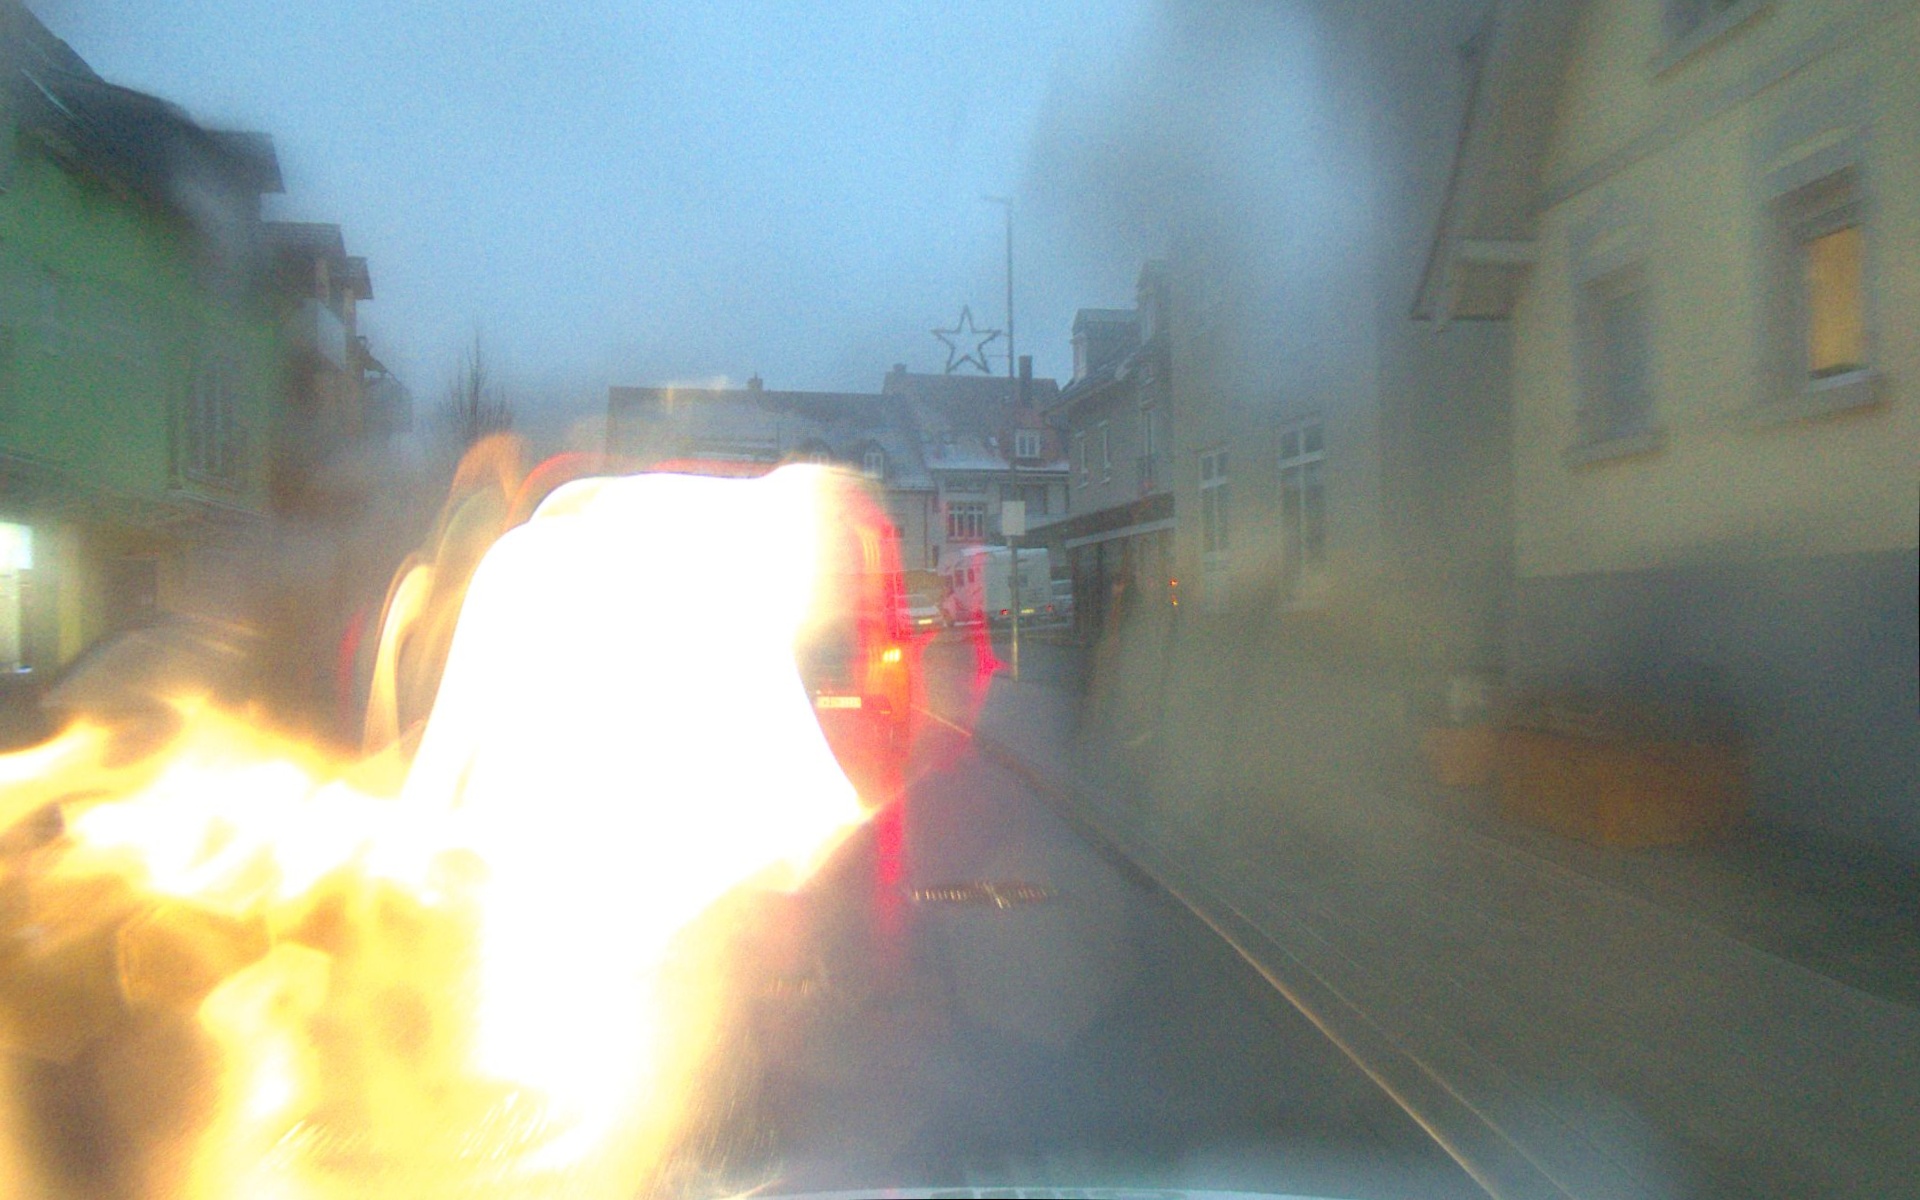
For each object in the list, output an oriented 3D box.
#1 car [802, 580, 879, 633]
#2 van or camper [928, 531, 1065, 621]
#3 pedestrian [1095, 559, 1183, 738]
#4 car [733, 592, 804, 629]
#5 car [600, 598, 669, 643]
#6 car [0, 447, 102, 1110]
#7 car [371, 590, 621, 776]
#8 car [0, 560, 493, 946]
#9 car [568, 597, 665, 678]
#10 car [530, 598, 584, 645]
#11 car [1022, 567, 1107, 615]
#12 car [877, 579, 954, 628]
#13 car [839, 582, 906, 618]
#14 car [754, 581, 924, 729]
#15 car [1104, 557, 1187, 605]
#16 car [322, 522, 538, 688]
[{"bbox_3d":[-4.522,0.227,62.085,1.962,1.795,4.330,-3,1,-17],"label":"car"},{"bbox_3d":[1.306,-0.865,63.293,2.616,3.100,6.687,-4,1,-23],"label":"van or camper"},{"bbox_3d":[1.806,0.466,16.788,0.730,1.759,0.872,-1,1,-3],"label":"pedestrian"},{"bbox_3d":[-8.217,0.432,70.839,1.865,1.488,3.601,-1,1,-27],"label":"car"},{"bbox_3d":[-12.364,0.759,62.591,1.964,1.616,3.976,0,0,-20],"label":"car"},{"bbox_3d":[-3.104,0.538,2.147,1.914,1.573,4.412,-2,3,-5],"label":"car"},{"bbox_3d":[-4.580,0.722,16.927,1.957,1.583,4.249,-1,1,-9],"label":"car"},{"bbox_3d":[-3.877,0.625,8.999,1.821,1.583,4.252,-1,0,-6],"label":"car"},{"bbox_3d":[-7.479,0.789,36.333,1.882,1.592,4.216,-3,0,-10],"label":"car"},{"bbox_3d":[-19.805,1.021,81.155,1.966,2.241,3.972,0,0,-23],"label":"car"},{"bbox_3d":[3.950,-0.332,63.098,1.762,1.580,3.979,-7,2,-18],"label":"car"},{"bbox_3d":[-1.723,0.158,62.478,1.960,1.639,4.158,-3,-1,-14],"label":"car"},{"bbox_3d":[-3.952,-0.018,74.233,1.795,1.487,4.523,-3,1,-19],"label":"car"},{"bbox_3d":[-1.446,0.590,19.492,1.779,1.560,3.996,0,0,-5],"label":"car"},{"bbox_3d":[7.149,-0.725,64.024,1.959,1.634,3.988,-5,1,-12],"label":"car"},{"bbox_3d":[-9.269,0.129,29.639,2.438,2.605,6.750,1,-1,-7],"label":"car"}]
